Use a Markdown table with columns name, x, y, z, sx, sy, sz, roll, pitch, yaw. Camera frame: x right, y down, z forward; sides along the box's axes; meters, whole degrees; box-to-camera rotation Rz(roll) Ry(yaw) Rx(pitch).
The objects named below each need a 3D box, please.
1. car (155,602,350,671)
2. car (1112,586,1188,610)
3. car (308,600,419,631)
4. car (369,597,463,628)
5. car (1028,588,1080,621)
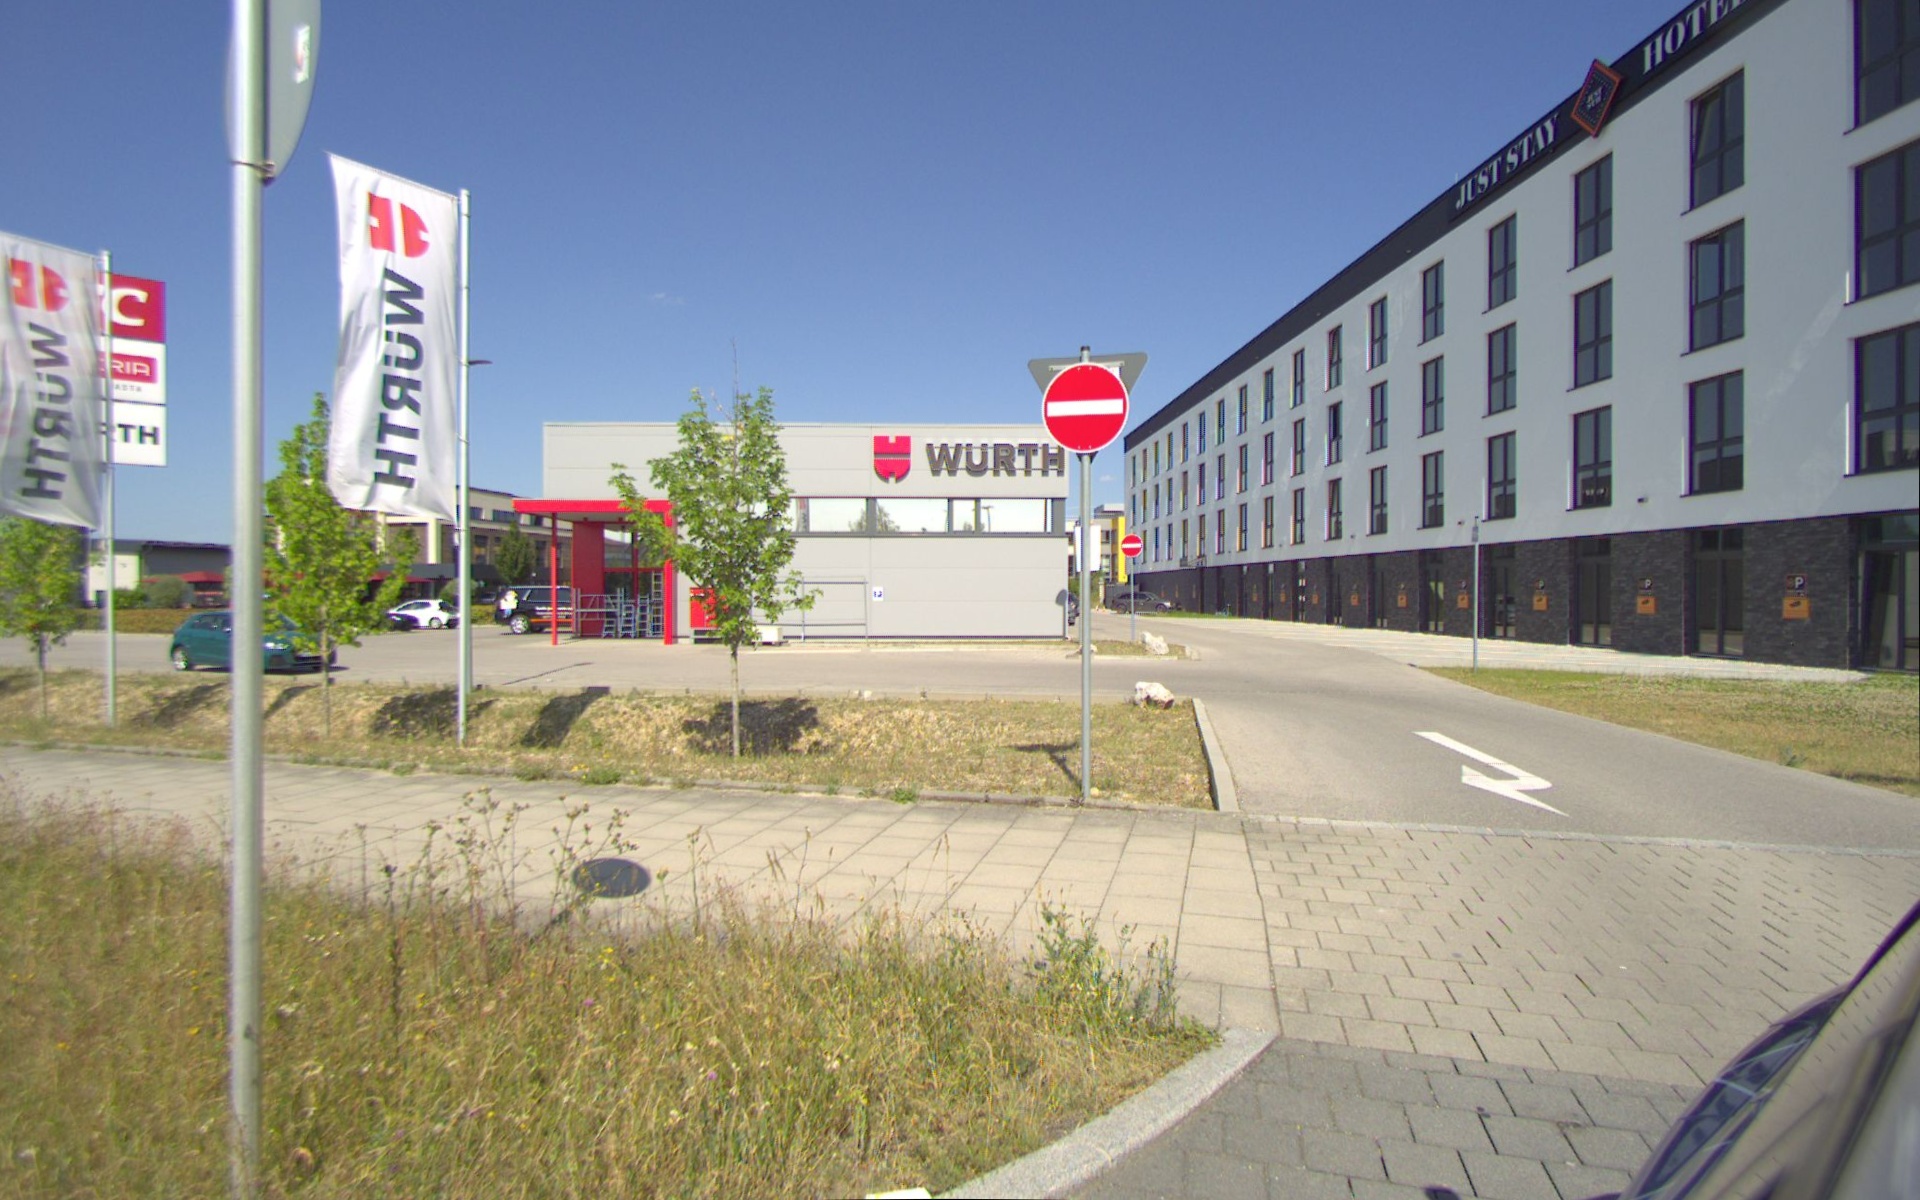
| name | x | y | z | sx | sy | sz | roll | pitch | yaw |
| --- | --- | --- | --- | --- | --- | --- | --- | --- | --- |
| car | -16.489 | 0.812 | 23.585 | 4.179 | 1.468 | 1.832 | -1 | 0 | 23 |
| car | 12.287 | -0.117 | 65.525 | 4.495 | 1.527 | 1.856 | 0 | 0 | 35 |
| car | -27.645 | 0.703 | 47.009 | 4.073 | 1.354 | 1.832 | -1 | 0 | -3 |
| car | -27.848 | 0.625 | 51.869 | 3.842 | 1.493 | 1.802 | -1 | 0 | 3 |
| car | 4.507 | 0.201 | 49.049 | 1.842 | 1.527 | 4.003 | -1 | 0 | -4 |
